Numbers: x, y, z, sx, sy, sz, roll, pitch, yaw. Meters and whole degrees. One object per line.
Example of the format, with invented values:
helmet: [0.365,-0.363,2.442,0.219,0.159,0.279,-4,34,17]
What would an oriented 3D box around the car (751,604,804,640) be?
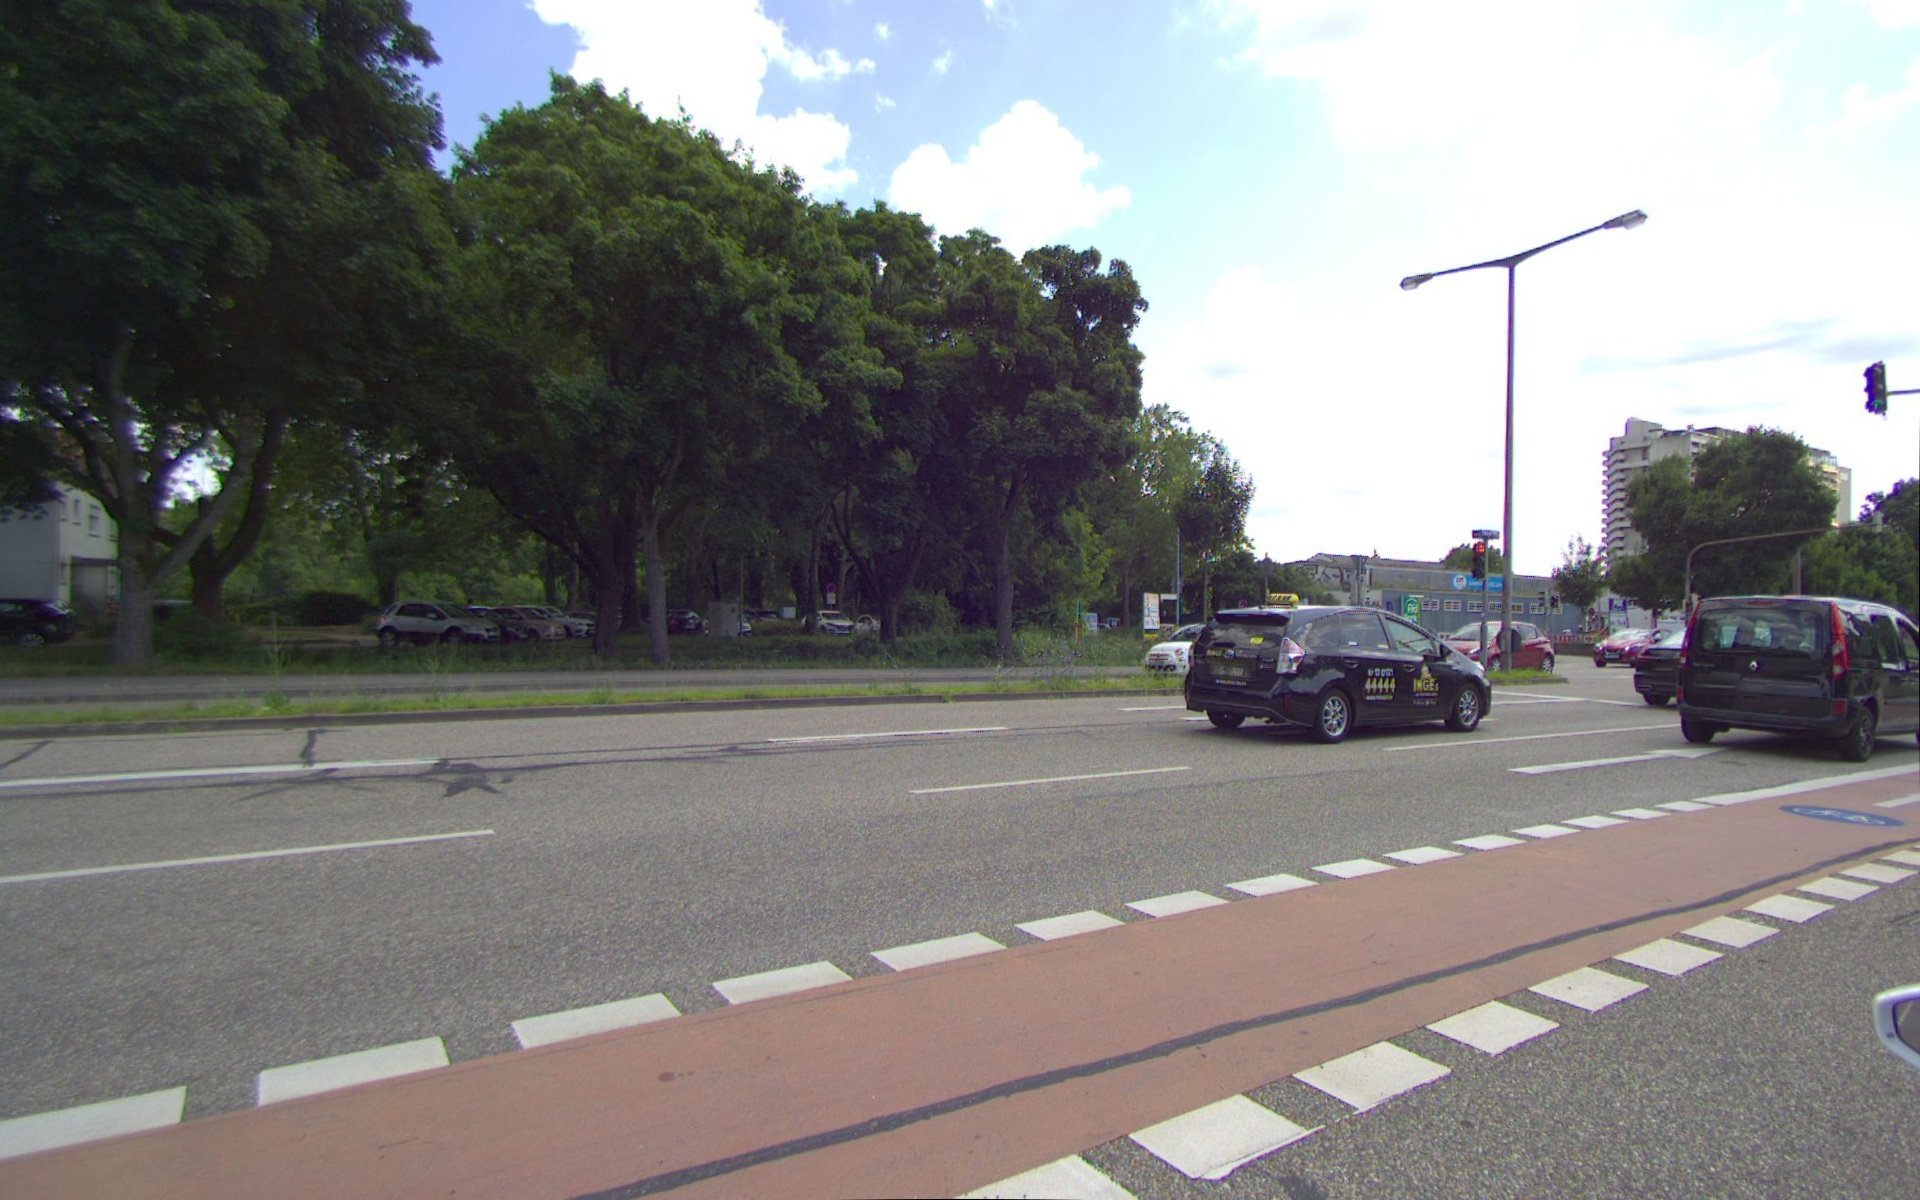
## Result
car: [-9.373,1.106,51.271,2.014,1.748,4.559,1,-1,-19]

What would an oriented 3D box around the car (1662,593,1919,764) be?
car: [10.606,0.884,12.445,3.866,1.801,1.750,2,0,-32]

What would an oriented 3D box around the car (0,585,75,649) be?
car: [-26.260,0.414,26.494,4.331,1.679,1.790,2,0,-42]

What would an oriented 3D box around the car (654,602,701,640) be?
car: [-13.743,0.993,48.723,1.793,1.750,4.106,1,-1,-22]

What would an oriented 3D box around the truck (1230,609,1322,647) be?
truck: [21.648,1.918,69.256,2.987,2.472,6.970,1,-1,-12]

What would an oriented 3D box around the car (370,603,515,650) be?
car: [-17.659,0.896,34.409,3.941,1.503,2.001,1,-1,6]

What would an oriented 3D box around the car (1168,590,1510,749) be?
car: [4.805,0.790,12.569,4.293,1.690,1.775,2,0,-33]

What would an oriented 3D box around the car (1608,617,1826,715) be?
car: [13.499,1.118,17.872,3.957,1.524,1.853,2,0,-33]

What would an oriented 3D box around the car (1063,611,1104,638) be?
car: [9.108,1.773,74.213,1.904,1.817,3.611,2,0,-13]

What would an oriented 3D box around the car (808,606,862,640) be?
car: [-6.706,1.228,53.562,2.044,1.748,4.111,1,-1,-19]

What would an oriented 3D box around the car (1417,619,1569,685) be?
car: [14.440,1.358,27.162,3.957,1.639,1.982,1,-1,-33]

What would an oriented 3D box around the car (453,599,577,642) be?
car: [-17.444,0.813,39.476,3.942,1.608,2.001,-1,-1,6]

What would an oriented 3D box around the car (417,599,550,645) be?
car: [-17.518,0.795,37.042,3.941,1.608,2.001,1,-1,6]

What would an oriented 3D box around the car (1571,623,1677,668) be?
car: [25.120,1.706,37.977,3.957,1.532,1.876,2,0,-33]

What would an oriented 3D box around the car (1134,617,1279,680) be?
car: [6.309,1.219,25.650,3.556,1.464,1.602,2,0,-34]

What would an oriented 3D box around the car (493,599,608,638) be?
car: [-17.079,0.778,41.958,3.941,1.565,2.001,1,-1,6]

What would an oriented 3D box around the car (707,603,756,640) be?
car: [-11.500,1.070,50.422,1.793,1.732,4.106,1,-1,-22]
